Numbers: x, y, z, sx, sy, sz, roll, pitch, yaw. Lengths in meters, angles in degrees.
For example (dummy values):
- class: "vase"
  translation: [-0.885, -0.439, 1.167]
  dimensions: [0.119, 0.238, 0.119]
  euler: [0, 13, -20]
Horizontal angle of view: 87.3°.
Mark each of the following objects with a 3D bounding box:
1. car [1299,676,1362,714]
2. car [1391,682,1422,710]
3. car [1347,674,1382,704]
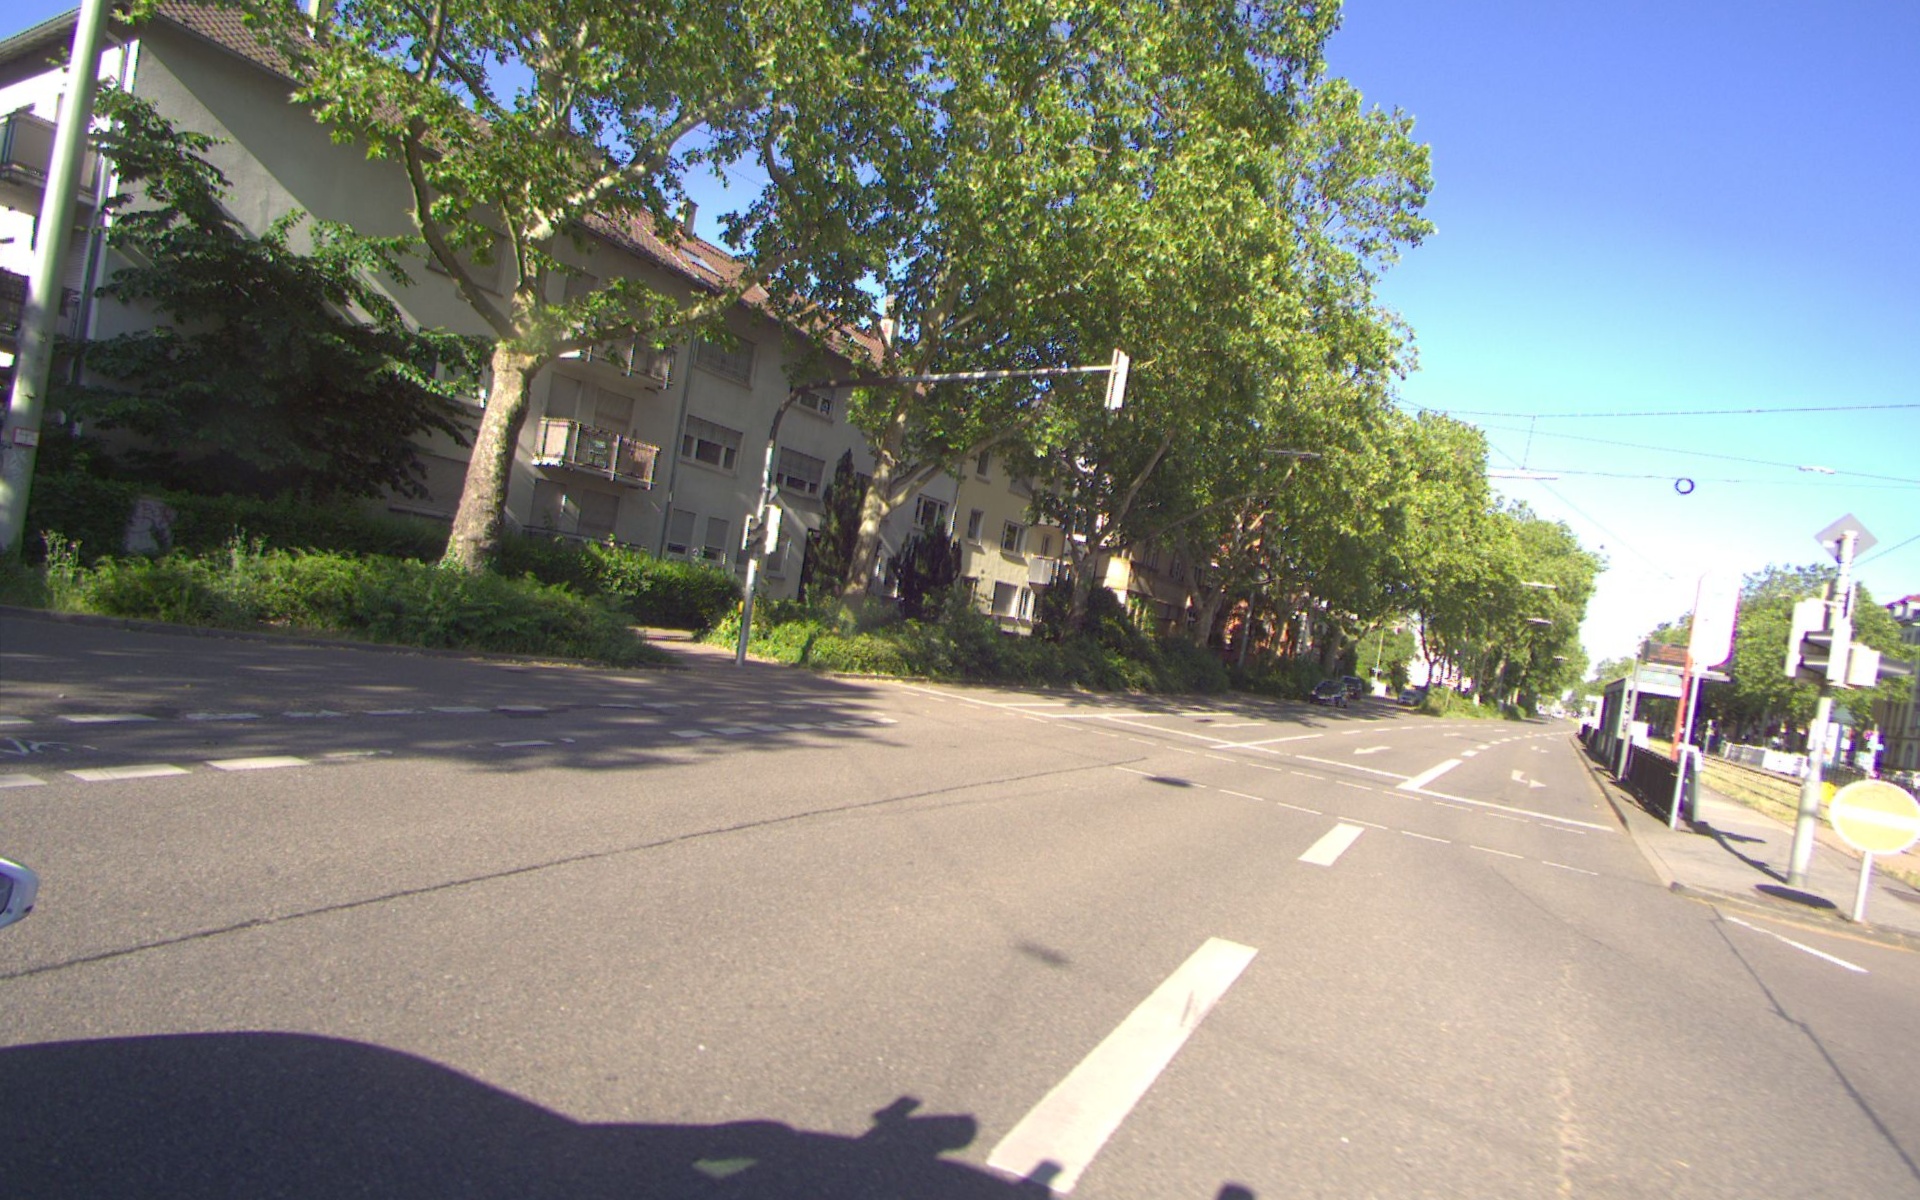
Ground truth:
- class: "car"
  translation: [20.810, 5.336, 56.384]
  dimensions: [1.804, 1.424, 3.874]
  euler: [10, -2, 43]
- class: "car"
  translation: [42.158, 9.087, 94.907]
  dimensions: [1.966, 2.035, 3.999]
  euler: [10, -2, 31]
- class: "car"
  translation: [35.008, 7.695, 87.071]
  dimensions: [1.966, 2.035, 3.999]
  euler: [10, -2, 31]
